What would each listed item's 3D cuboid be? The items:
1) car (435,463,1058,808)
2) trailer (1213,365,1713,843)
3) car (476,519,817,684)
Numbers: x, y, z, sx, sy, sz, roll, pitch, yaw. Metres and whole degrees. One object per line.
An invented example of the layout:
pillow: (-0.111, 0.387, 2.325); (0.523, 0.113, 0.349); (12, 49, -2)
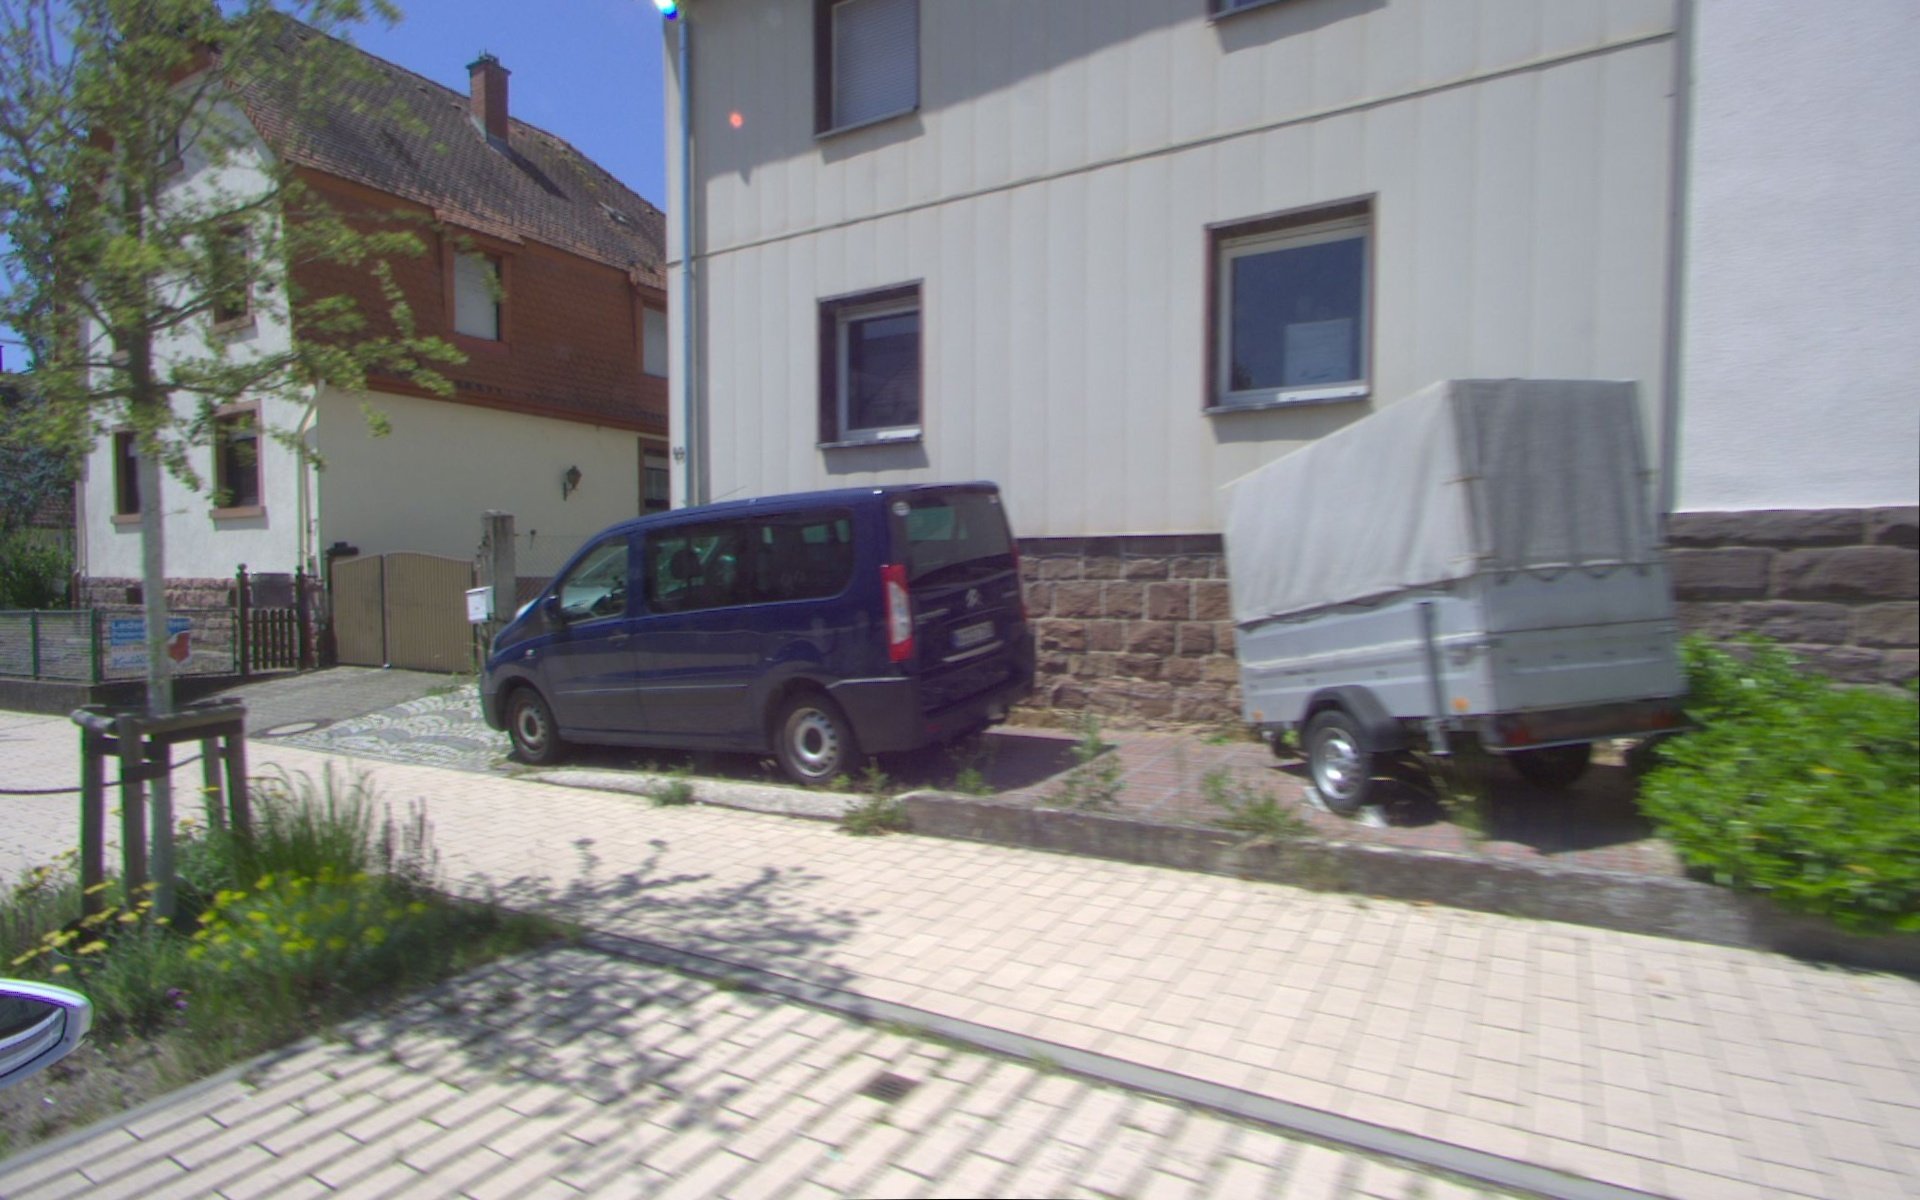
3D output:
car: (-1.788, 0.183, 7.803); (4.705, 1.999, 1.847); (-1, 4, 32)
trailer: (2.557, 0.045, 5.550); (1.301, 2.040, 2.270); (0, -1, -15)
car: (-3.882, 0.085, 13.053); (1.864, 1.788, 3.980); (0, -2, 33)
